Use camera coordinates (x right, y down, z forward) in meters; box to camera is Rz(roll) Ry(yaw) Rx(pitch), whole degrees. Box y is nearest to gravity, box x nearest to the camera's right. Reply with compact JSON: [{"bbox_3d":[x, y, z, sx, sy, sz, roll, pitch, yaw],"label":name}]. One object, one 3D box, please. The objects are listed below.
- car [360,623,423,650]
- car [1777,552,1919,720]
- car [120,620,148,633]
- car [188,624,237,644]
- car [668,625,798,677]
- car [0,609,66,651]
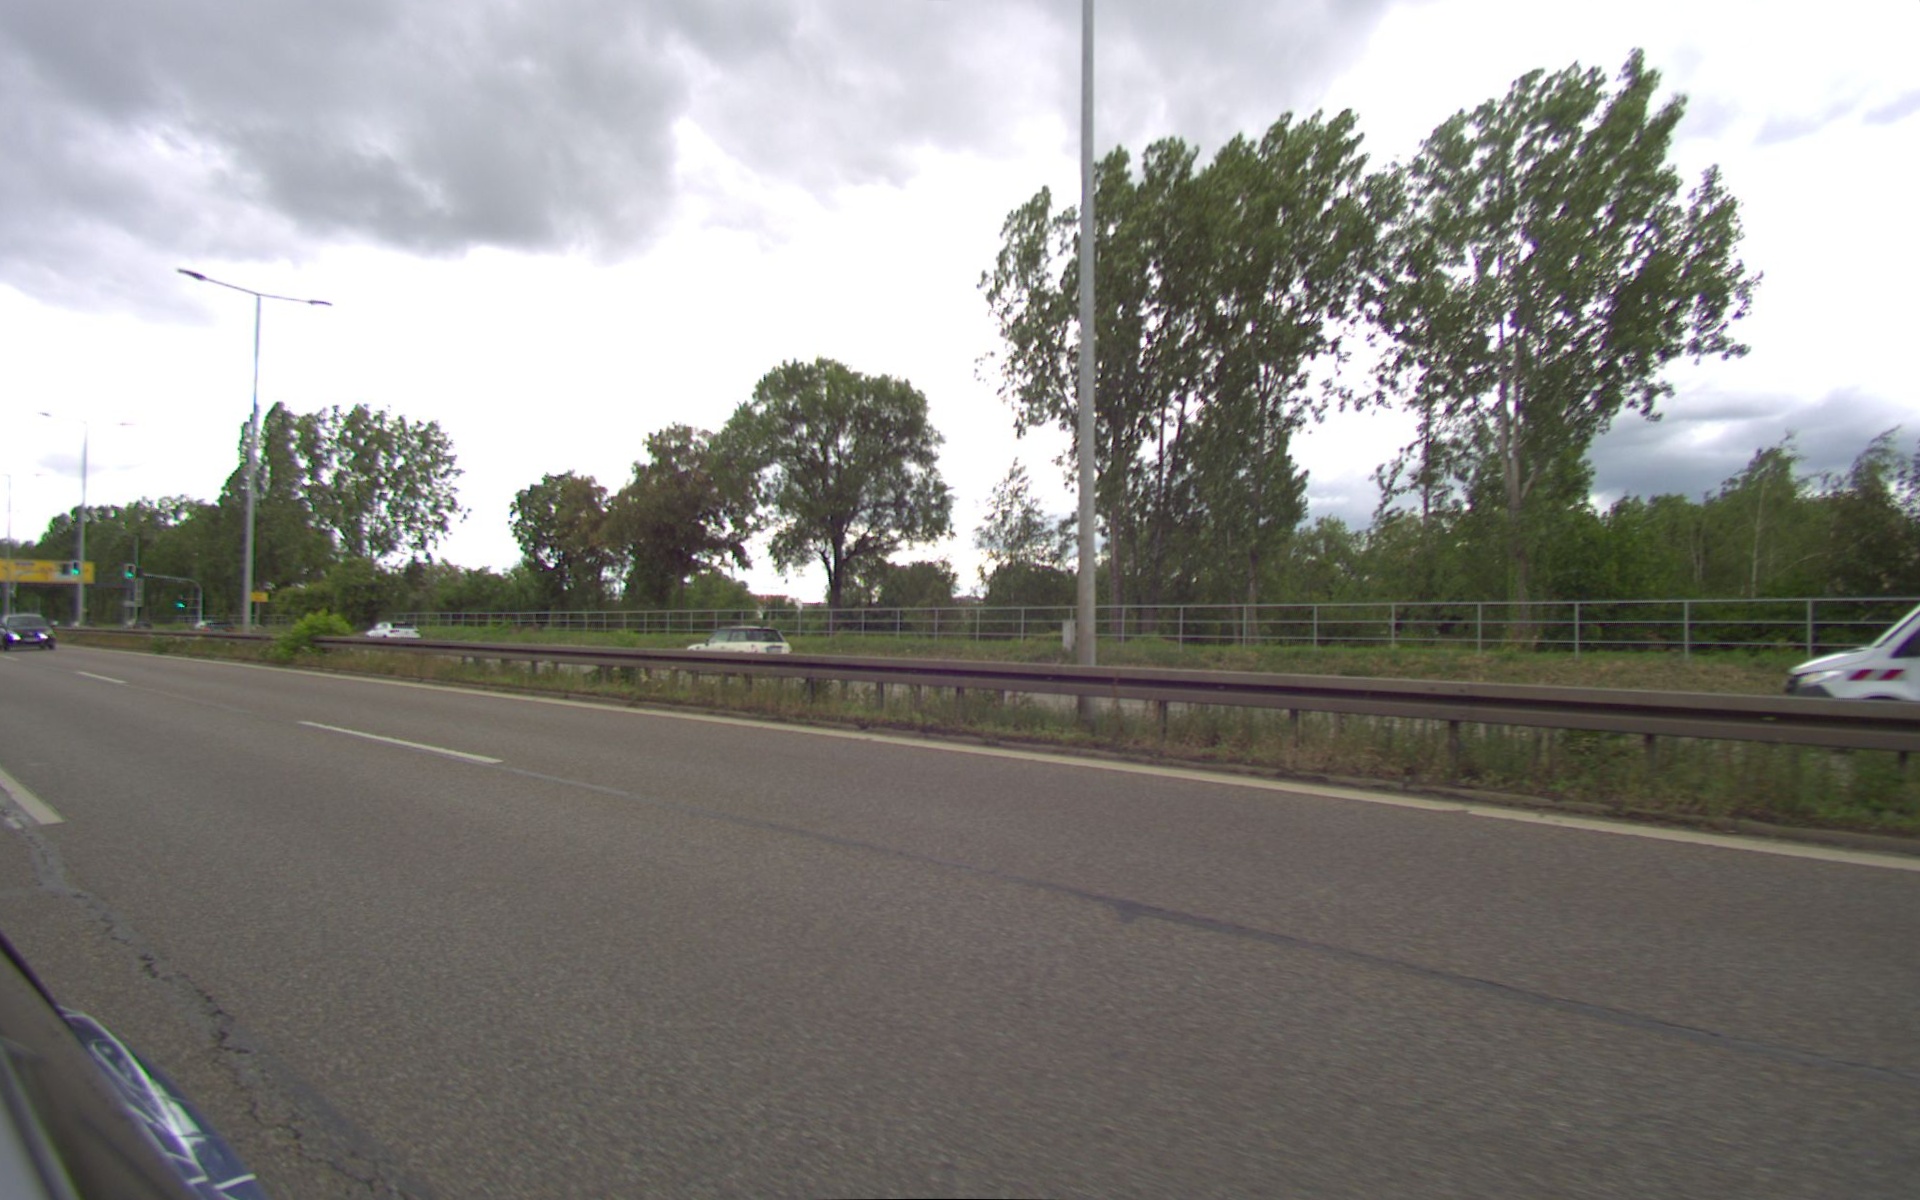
[{"bbox_3d":[-32.547,2.065,57.903,4.200,1.501,1.859,-2,-2,41],"label":"car"},{"bbox_3d":[13.067,0.426,11.705,5.474,1.963,2.201,-1,-3,43],"label":"car"},{"bbox_3d":[-83.270,2.676,102.002,4.059,1.309,1.562,-2,-2,41],"label":"car"},{"bbox_3d":[-51.424,2.336,69.566,4.784,1.309,1.643,-2,-2,40],"label":"car"},{"bbox_3d":[-6.608,1.437,29.223,3.987,1.409,1.642,-2,-2,41],"label":"car"},{"bbox_3d":[-39.737,1.283,43.153,4.143,1.738,1.859,-2,-2,40],"label":"car"}]
